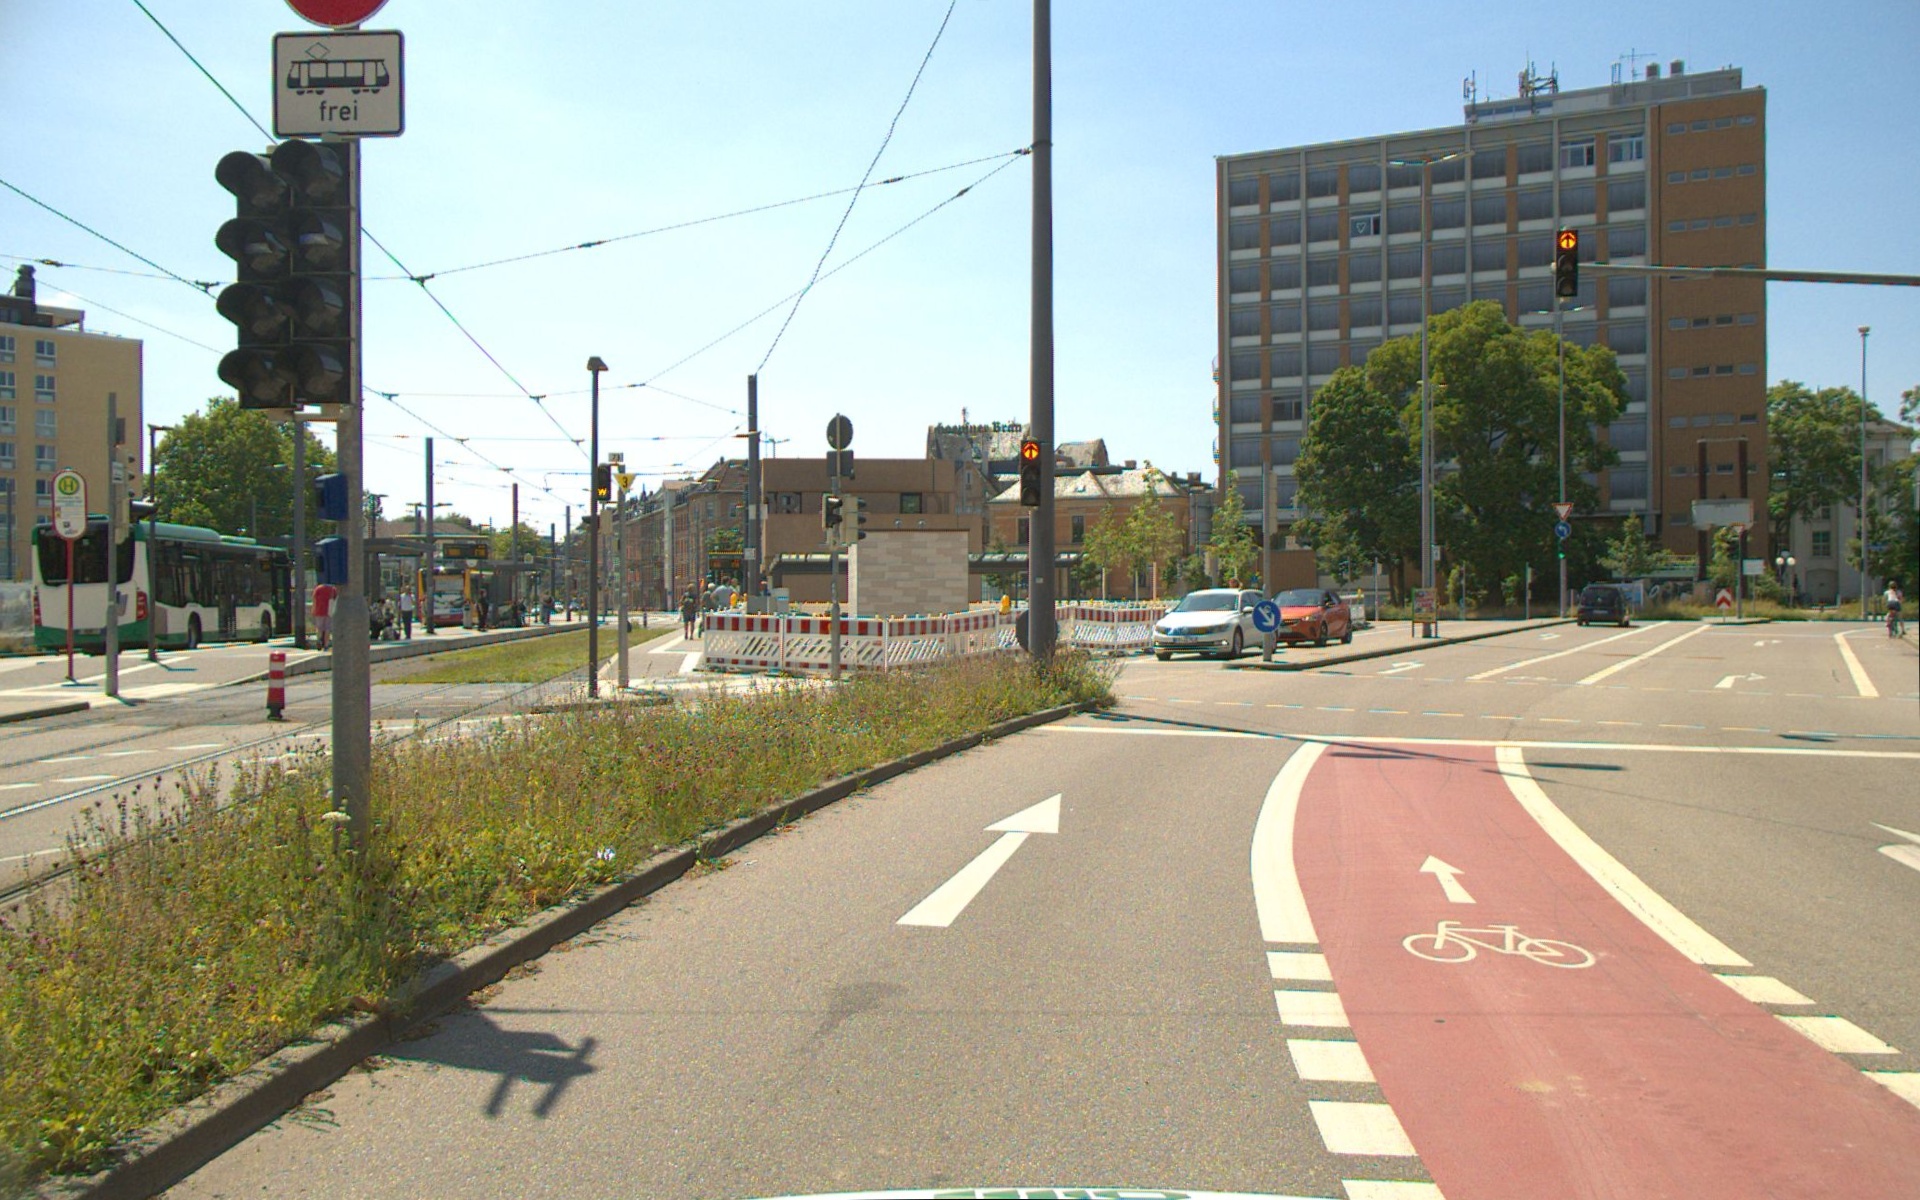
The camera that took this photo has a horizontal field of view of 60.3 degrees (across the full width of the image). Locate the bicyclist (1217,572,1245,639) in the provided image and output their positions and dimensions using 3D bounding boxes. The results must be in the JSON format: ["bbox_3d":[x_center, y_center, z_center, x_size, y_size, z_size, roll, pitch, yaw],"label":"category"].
[{"bbox_3d":[7.150,0.149,43.598,0.557,1.749,0.505,0,1,34],"label":"bicyclist"}]

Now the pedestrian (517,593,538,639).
[{"bbox_3d":[-20.632,0.760,78.875,0.813,2.133,0.900,-1,0,-8],"label":"pedestrian"}]

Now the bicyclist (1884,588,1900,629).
[{"bbox_3d":[28.862,0.268,51.222,0.344,1.249,0.564,-1,0,20],"label":"bicyclist"}]

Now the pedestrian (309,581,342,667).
[{"bbox_3d":[-14.676,0.549,38.265,0.662,1.943,0.637,-1,0,-17],"label":"pedestrian"}]

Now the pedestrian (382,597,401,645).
[{"bbox_3d":[-26.067,0.963,75.790,0.698,2.148,0.650,-1,0,-32],"label":"pedestrian"}]

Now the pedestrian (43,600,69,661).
[{"bbox_3d":[-25.820,0.860,47.233,0.557,1.735,0.396,-1,0,-15],"label":"pedestrian"}]

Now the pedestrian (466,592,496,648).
[{"bbox_3d":[-18.352,0.756,63.395,0.881,2.133,0.831,-1,0,-3],"label":"pedestrian"}]

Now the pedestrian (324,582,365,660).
[{"bbox_3d":[-16.344,0.545,43.952,0.926,2.025,1.024,-1,0,-17],"label":"pedestrian"}]

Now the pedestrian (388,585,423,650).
[{"bbox_3d":[-18.476,0.591,55.165,0.881,2.133,0.831,-1,0,-3],"label":"pedestrian"}]

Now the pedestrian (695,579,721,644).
[{"bbox_3d":[-7.632,0.360,50.086,0.706,1.957,1.071,0,-1,-12],"label":"pedestrian"}]

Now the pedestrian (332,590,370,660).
[{"bbox_3d":[-16.640,0.672,45.216,0.897,1.884,0.654,-1,0,-17],"label":"pedestrian"}]

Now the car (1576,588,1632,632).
[{"bbox_3d":[23.651,0.351,60.803,1.653,1.553,3.692,-1,0,18],"label":"car"}]

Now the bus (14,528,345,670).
[{"bbox_3d":[-21.091,-0.028,46.578,2.953,3.213,17.472,-1,0,-7],"label":"bus"}]

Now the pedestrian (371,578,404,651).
[{"bbox_3d":[-16.917,0.417,48.880,0.885,2.133,0.827,-1,0,-19],"label":"pedestrian"}]

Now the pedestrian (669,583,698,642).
[{"bbox_3d":[-8.125,0.369,48.588,0.715,1.737,0.739,0,-1,-19],"label":"pedestrian"}]

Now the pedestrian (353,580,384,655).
[{"bbox_3d":[-17.099,0.499,47.817,0.811,2.133,0.638,-1,0,-19],"label":"pedestrian"}]

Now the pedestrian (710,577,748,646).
[{"bbox_3d":[-6.423,0.315,45.997,0.717,1.897,0.762,-1,-2,42],"label":"pedestrian"}]

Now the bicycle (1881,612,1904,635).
[{"bbox_3d":[28.857,0.719,51.195,0.369,0.657,1.645,-1,0,20],"label":"bicycle"}]

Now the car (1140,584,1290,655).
[{"bbox_3d":[5.700,0.424,36.522,1.954,1.463,4.701,-1,-1,26],"label":"car"}]

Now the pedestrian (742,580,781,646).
[{"bbox_3d":[-5.688,0.380,47.404,0.963,1.864,0.629,-1,0,-22],"label":"pedestrian"}]

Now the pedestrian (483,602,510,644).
[{"bbox_3d":[-20.694,1.017,73.868,0.961,1.867,0.769,-1,0,-32],"label":"pedestrian"}]

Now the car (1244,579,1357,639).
[{"bbox_3d":[8.810,0.243,42.536,1.698,1.450,4.117,-1,-1,29],"label":"car"}]
